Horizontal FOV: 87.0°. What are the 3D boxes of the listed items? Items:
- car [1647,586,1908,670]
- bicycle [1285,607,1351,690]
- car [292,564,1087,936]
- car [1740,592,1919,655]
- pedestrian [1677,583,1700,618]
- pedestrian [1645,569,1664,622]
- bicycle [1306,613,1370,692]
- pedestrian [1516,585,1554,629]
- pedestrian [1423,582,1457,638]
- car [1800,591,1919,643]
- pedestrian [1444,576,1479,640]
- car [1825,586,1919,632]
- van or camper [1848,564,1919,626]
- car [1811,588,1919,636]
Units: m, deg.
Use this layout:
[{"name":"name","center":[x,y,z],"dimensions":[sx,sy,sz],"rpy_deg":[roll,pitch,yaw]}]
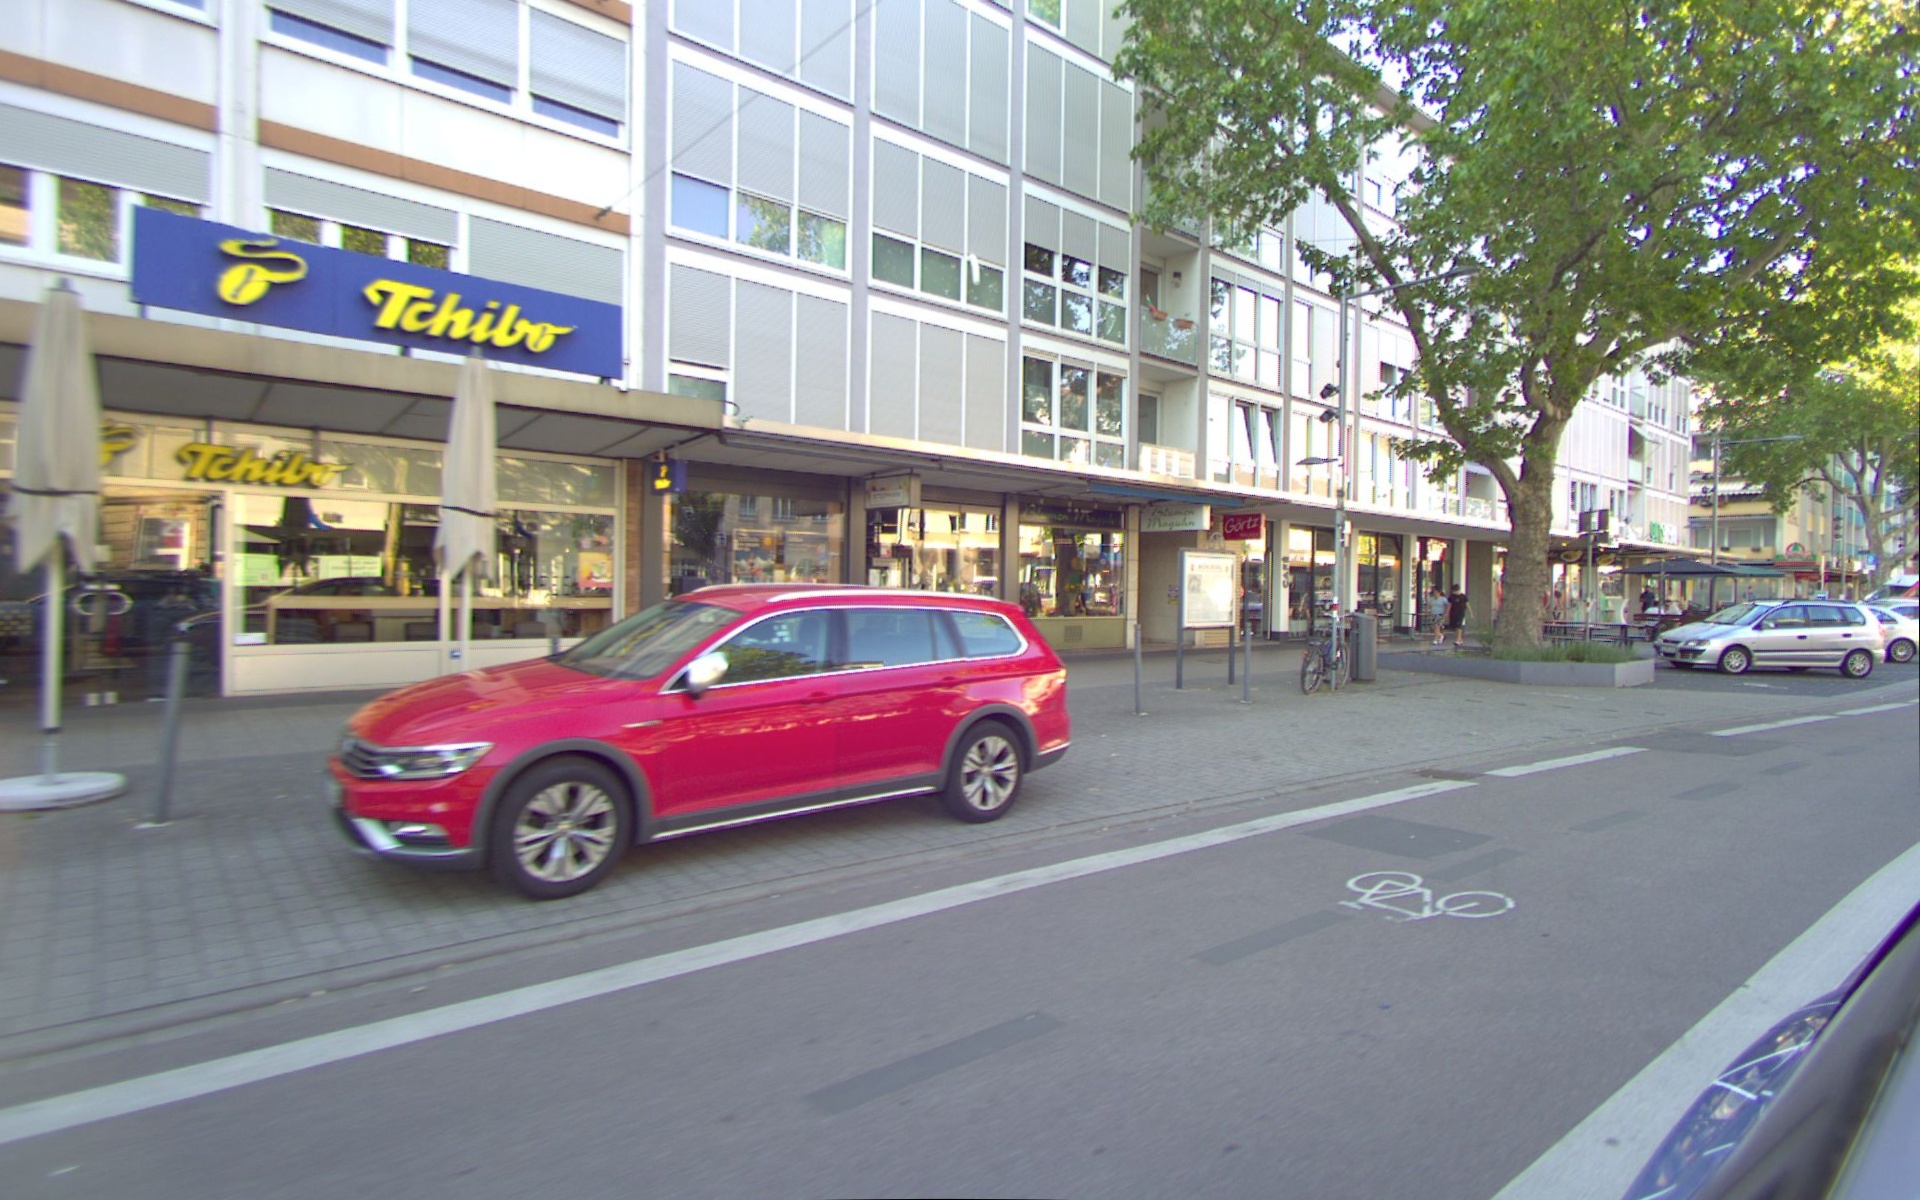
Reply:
[{"name":"car","center":[17.069,0.553,21.287],"dimensions":[3.926,1.626,1.809],"rpy_deg":[1,1,2]},{"name":"bicycle","center":[5.309,0.687,14.949],"dimensions":[0.293,1.114,1.693],"rpy_deg":[5,3,39]},{"name":"car","center":[-1.405,0.598,6.350],"dimensions":[4.486,1.515,1.783],"rpy_deg":[0,3,-40]},{"name":"car","center":[22.539,0.575,25.740],"dimensions":[3.931,1.454,1.657],"rpy_deg":[1,2,7]},{"name":"pedestrian","center":[33.906,0.013,47.098],"dimensions":[0.529,1.611,0.687],"rpy_deg":[2,2,3]},{"name":"pedestrian","center":[26.867,-0.177,39.154],"dimensions":[0.548,2.039,0.570],"rpy_deg":[-2,-2,35]},{"name":"bicycle","center":[5.545,0.743,14.794],"dimensions":[0.293,1.053,1.693],"rpy_deg":[5,3,39]},{"name":"pedestrian","center":[18.629,0.211,32.771],"dimensions":[0.944,1.379,0.751],"rpy_deg":[0,1,-36]},{"name":"pedestrian","center":[12.681,0.252,26.731],"dimensions":[0.675,1.417,0.538],"rpy_deg":[0,3,-41]},{"name":"car","center":[28.029,0.509,30.411],"dimensions":[3.935,1.454,1.656],"rpy_deg":[1,2,10]},{"name":"pedestrian","center":[13.000,0.206,26.243],"dimensions":[0.675,1.611,0.538],"rpy_deg":[0,3,-41]},{"name":"car","center":[34.765,0.330,37.350],"dimensions":[3.935,1.583,1.656],"rpy_deg":[1,2,10]},{"name":"van or camper","center":[40.422,-0.186,41.762],"dimensions":[5.374,2.500,1.995],"rpy_deg":[1,0,10]},{"name":"car","center":[32.439,0.399,35.213],"dimensions":[3.935,1.542,1.656],"rpy_deg":[1,2,10]}]
